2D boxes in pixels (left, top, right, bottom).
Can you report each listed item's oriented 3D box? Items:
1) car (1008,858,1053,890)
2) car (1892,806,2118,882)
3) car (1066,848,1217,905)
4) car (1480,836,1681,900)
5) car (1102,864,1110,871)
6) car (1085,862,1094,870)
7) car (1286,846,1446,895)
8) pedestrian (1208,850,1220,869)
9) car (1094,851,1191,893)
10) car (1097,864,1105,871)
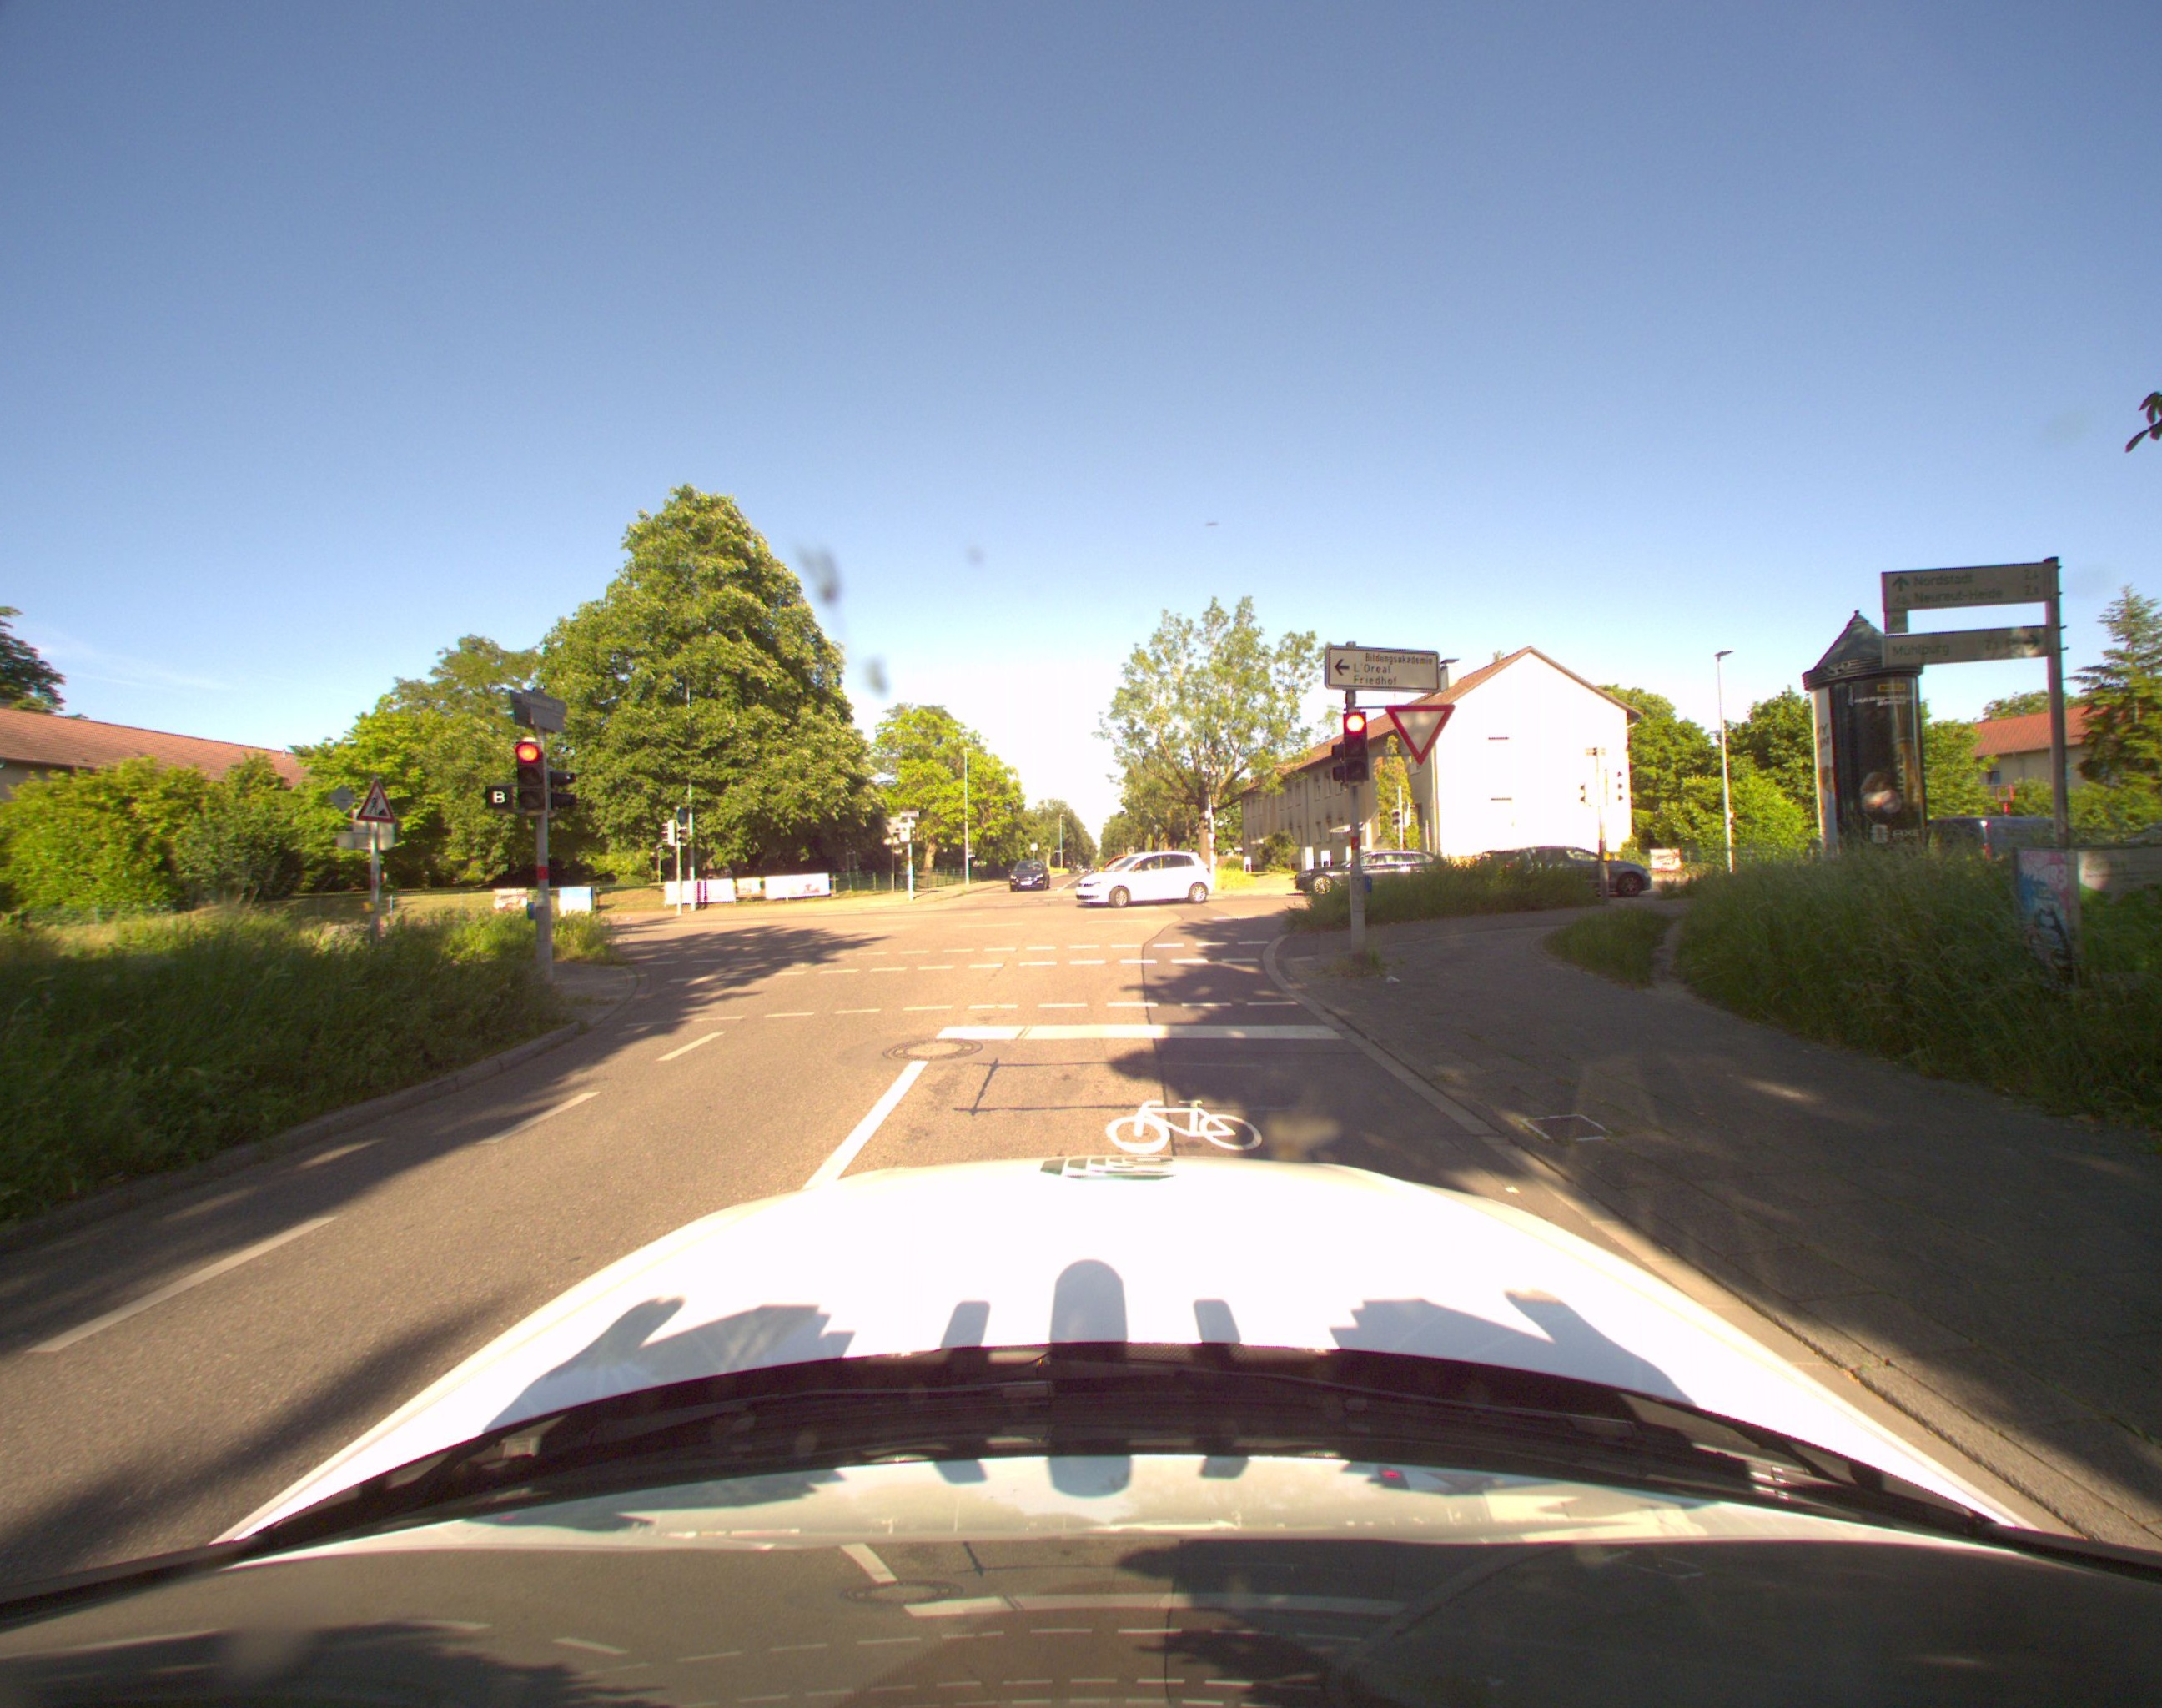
[{"bbox_3d":[-2.373,0.917,38.831,1.704,1.385,3.473,-2,0,3],"label":"car"},{"bbox_3d":[25.717,-0.274,22.762,4.334,1.887,1.858,-2,0,-3],"label":"car"},{"bbox_3d":[1.790,0.636,24.200,4.123,1.563,1.744,0,-1,-22],"label":"car"},{"bbox_3d":[13.442,0.367,22.086,4.270,1.489,1.913,-2,0,-1],"label":"car"},{"bbox_3d":[5.635,3.017,182.149,1.838,1.461,3.531,-2,0,1],"label":"car"},{"bbox_3d":[1.936,2.641,176.014,1.751,1.624,3.271,-2,0,3],"label":"car"},{"bbox_3d":[9.426,0.533,27.258,4.705,1.430,2.003,-2,0,4],"label":"car"},{"bbox_3d":[10.447,0.453,63.953,0.839,1.493,0.924,1,0,1],"label":"pedestrian"},{"bbox_3d":[2.436,0.701,33.053,1.766,1.582,3.954,0,-1,-38],"label":"car"},{"bbox_3d":[5.190,3.477,209.699,1.751,1.624,3.271,-2,0,3],"label":"car"}]
